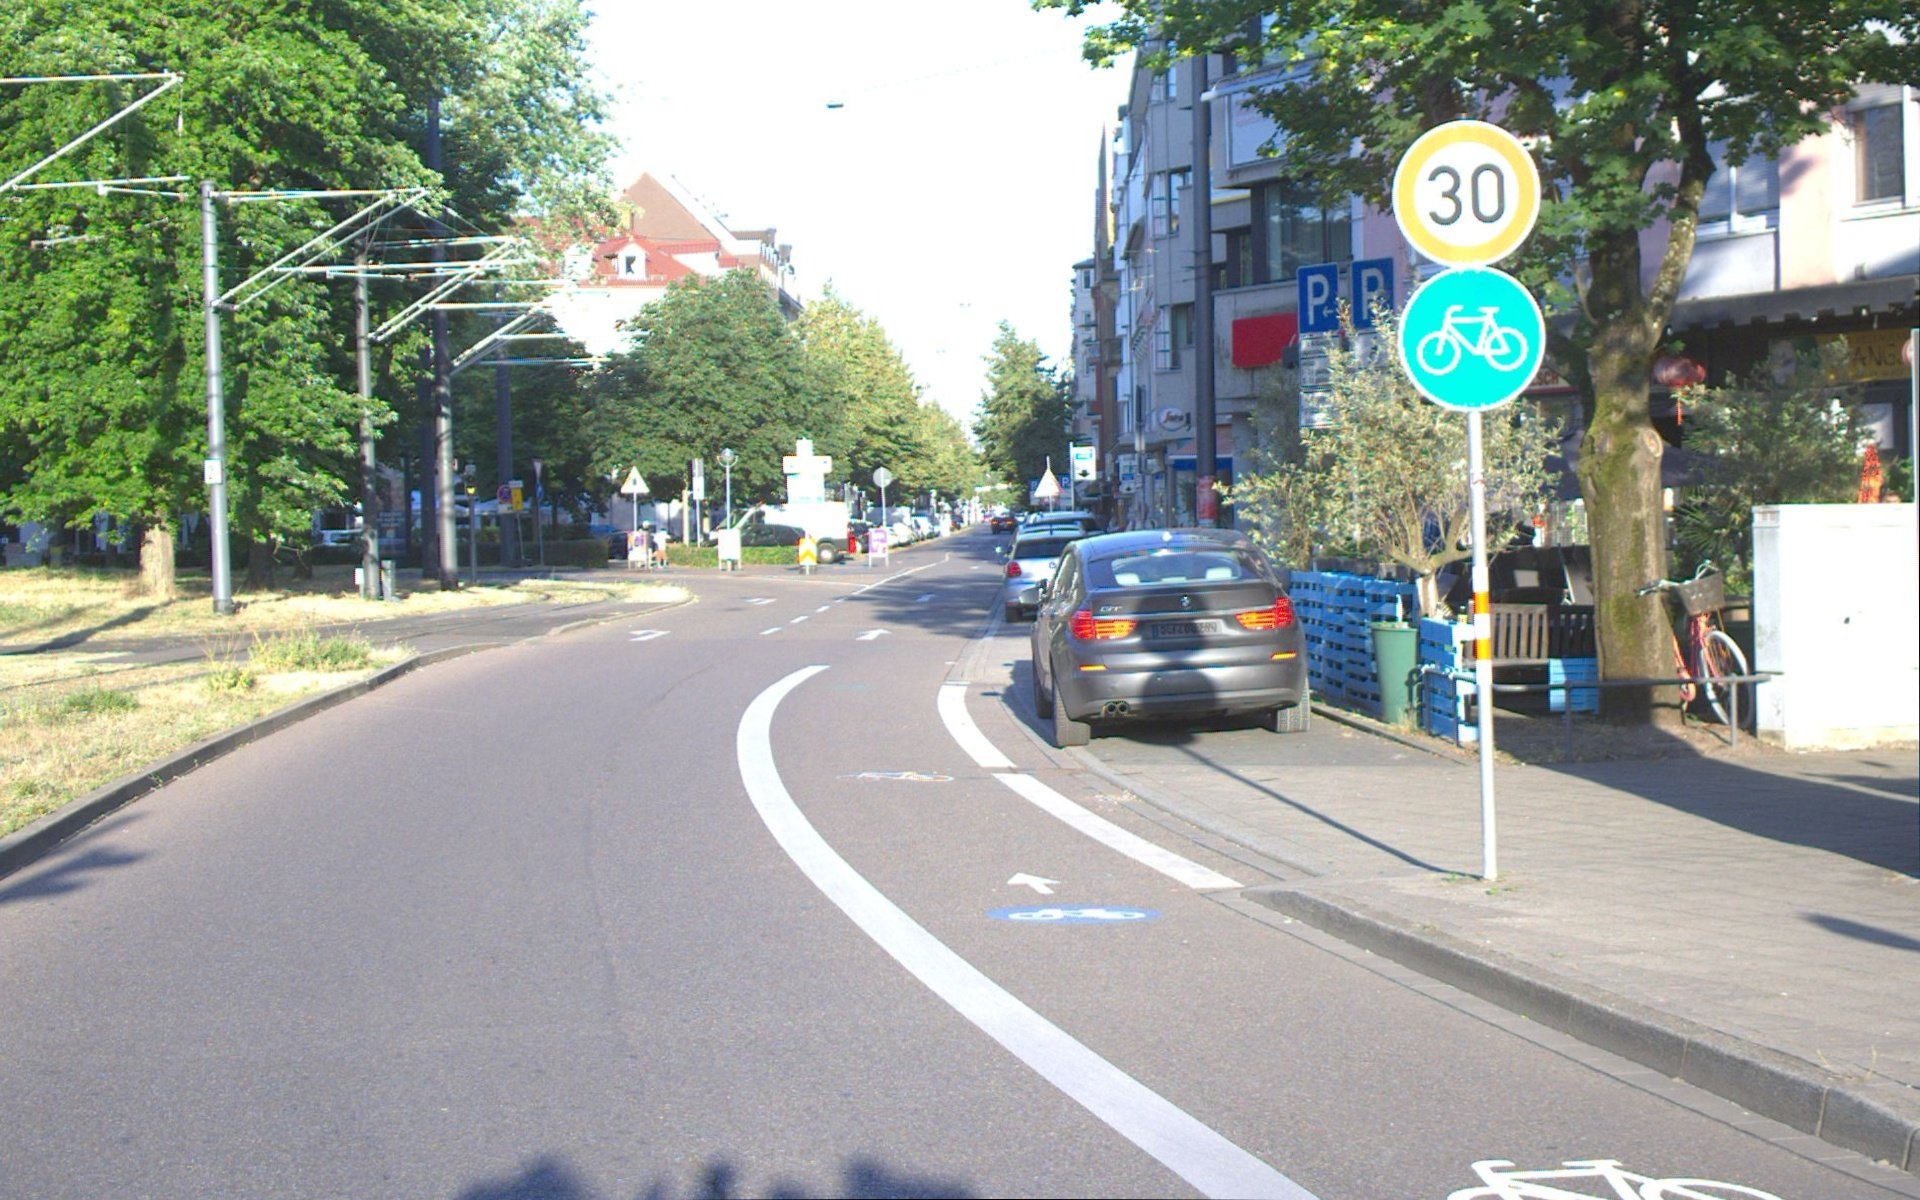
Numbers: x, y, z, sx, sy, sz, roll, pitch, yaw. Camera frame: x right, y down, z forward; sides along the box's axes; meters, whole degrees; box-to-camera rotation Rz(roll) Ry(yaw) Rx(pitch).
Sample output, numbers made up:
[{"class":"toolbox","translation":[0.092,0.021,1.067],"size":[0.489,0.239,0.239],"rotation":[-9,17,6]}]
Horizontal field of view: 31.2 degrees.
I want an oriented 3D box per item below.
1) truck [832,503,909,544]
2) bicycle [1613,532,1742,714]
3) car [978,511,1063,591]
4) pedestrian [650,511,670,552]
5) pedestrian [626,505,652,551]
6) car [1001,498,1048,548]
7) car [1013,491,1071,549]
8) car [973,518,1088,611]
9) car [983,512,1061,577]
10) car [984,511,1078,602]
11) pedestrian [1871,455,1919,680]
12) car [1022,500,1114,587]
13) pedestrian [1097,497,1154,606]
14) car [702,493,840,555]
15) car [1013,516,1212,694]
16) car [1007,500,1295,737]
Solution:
[{"class":"truck","translation":[-5.844,-4.996,224.426],"size":[4.941,2.606,2.000],"rotation":[-1,1,1]},{"class":"bicycle","translation":[5.039,0.136,24.240],"size":[0.446,1.206,2.083],"rotation":[0,2,-1]},{"class":"car","translation":[1.218,-1.000,68.585],"size":[1.641,1.523,4.000],"rotation":[0,2,2]},{"class":"pedestrian","translation":[-10.032,-2.299,114.869],"size":[0.562,1.359,0.614],"rotation":[0,2,6]},{"class":"pedestrian","translation":[-10.732,-2.407,114.874],"size":[0.697,1.553,0.694],"rotation":[0,2,9]},{"class":"car","translation":[2.432,-2.892,128.456],"size":[1.710,1.828,4.306],"rotation":[0,2,2]},{"class":"car","translation":[2.614,-2.570,110.457],"size":[1.792,1.785,4.092],"rotation":[-1,1,1]},{"class":"car","translation":[1.206,-0.618,57.352],"size":[1.785,1.451,4.000],"rotation":[-1,1,3]},{"class":"car","translation":[1.505,-1.344,82.031],"size":[1.790,1.502,3.921],"rotation":[0,2,2]},{"class":"car","translation":[1.263,-0.809,62.349],"size":[1.584,1.585,3.668],"rotation":[0,2,0]},{"class":"pedestrian","translation":[7.702,-0.270,26.716],"size":[0.891,1.720,0.774],"rotation":[-3,3,-30]},{"class":"car","translation":[2.296,-1.237,73.919],"size":[1.783,1.798,4.402],"rotation":[0,2,-1]},{"class":"pedestrian","translation":[2.735,-0.811,56.961],"size":[0.638,1.779,0.857],"rotation":[-1,2,-22]},{"class":"car","translation":[-7.032,-2.826,127.891],"size":[4.597,2.243,2.203],"rotation":[-1,1,-25]},{"class":"car","translation":[1.362,-0.006,32.098],"size":[1.650,1.529,4.067],"rotation":[0,2,0]},{"class":"car","translation":[1.401,0.064,26.991],"size":[1.804,1.664,4.814],"rotation":[0,2,-2]}]
